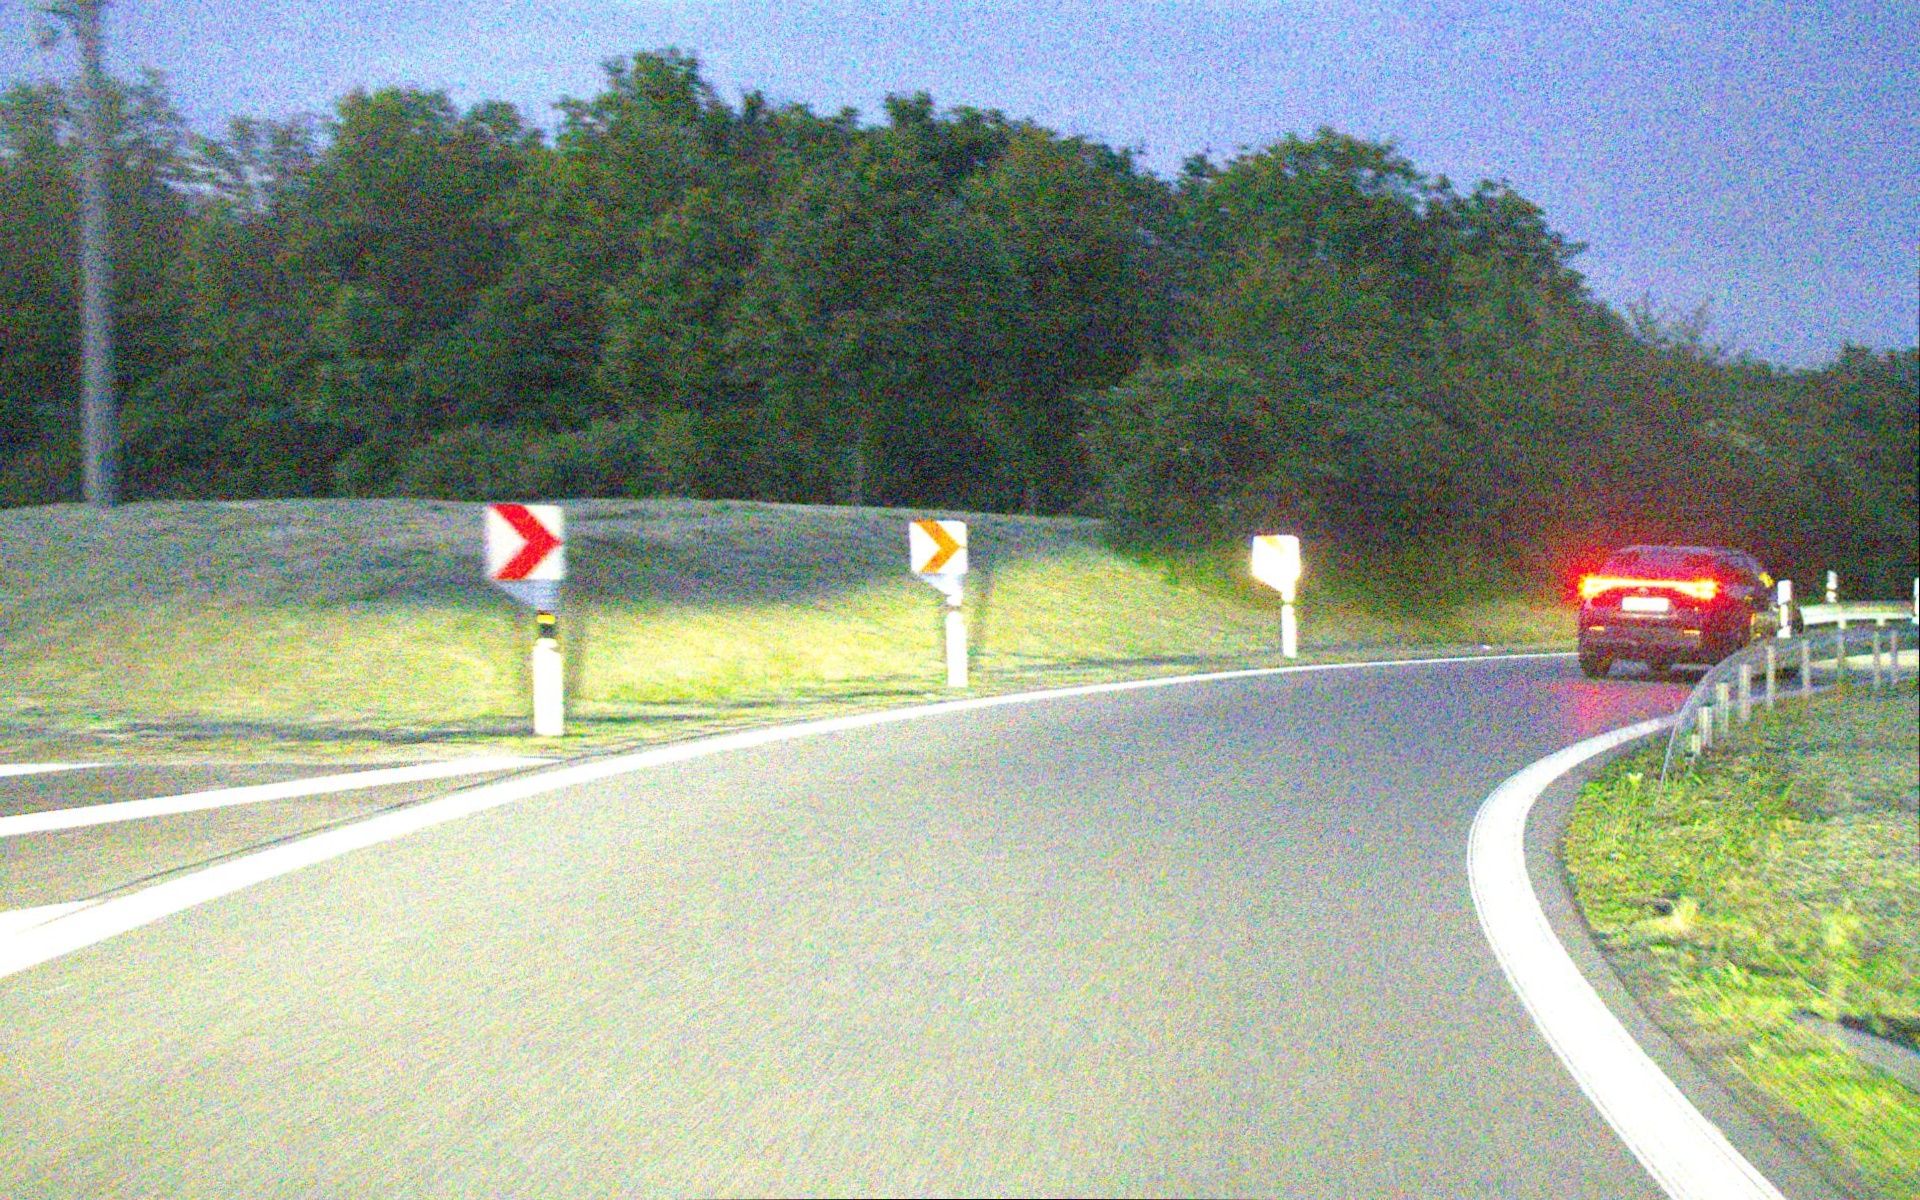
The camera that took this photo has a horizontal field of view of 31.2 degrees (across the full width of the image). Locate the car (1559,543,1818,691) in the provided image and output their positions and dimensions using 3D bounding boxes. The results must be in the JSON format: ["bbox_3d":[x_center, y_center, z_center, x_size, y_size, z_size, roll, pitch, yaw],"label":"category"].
[{"bbox_3d":[8.847,0.152,41.493,1.996,1.653,4.308,1,2,27],"label":"car"}]
